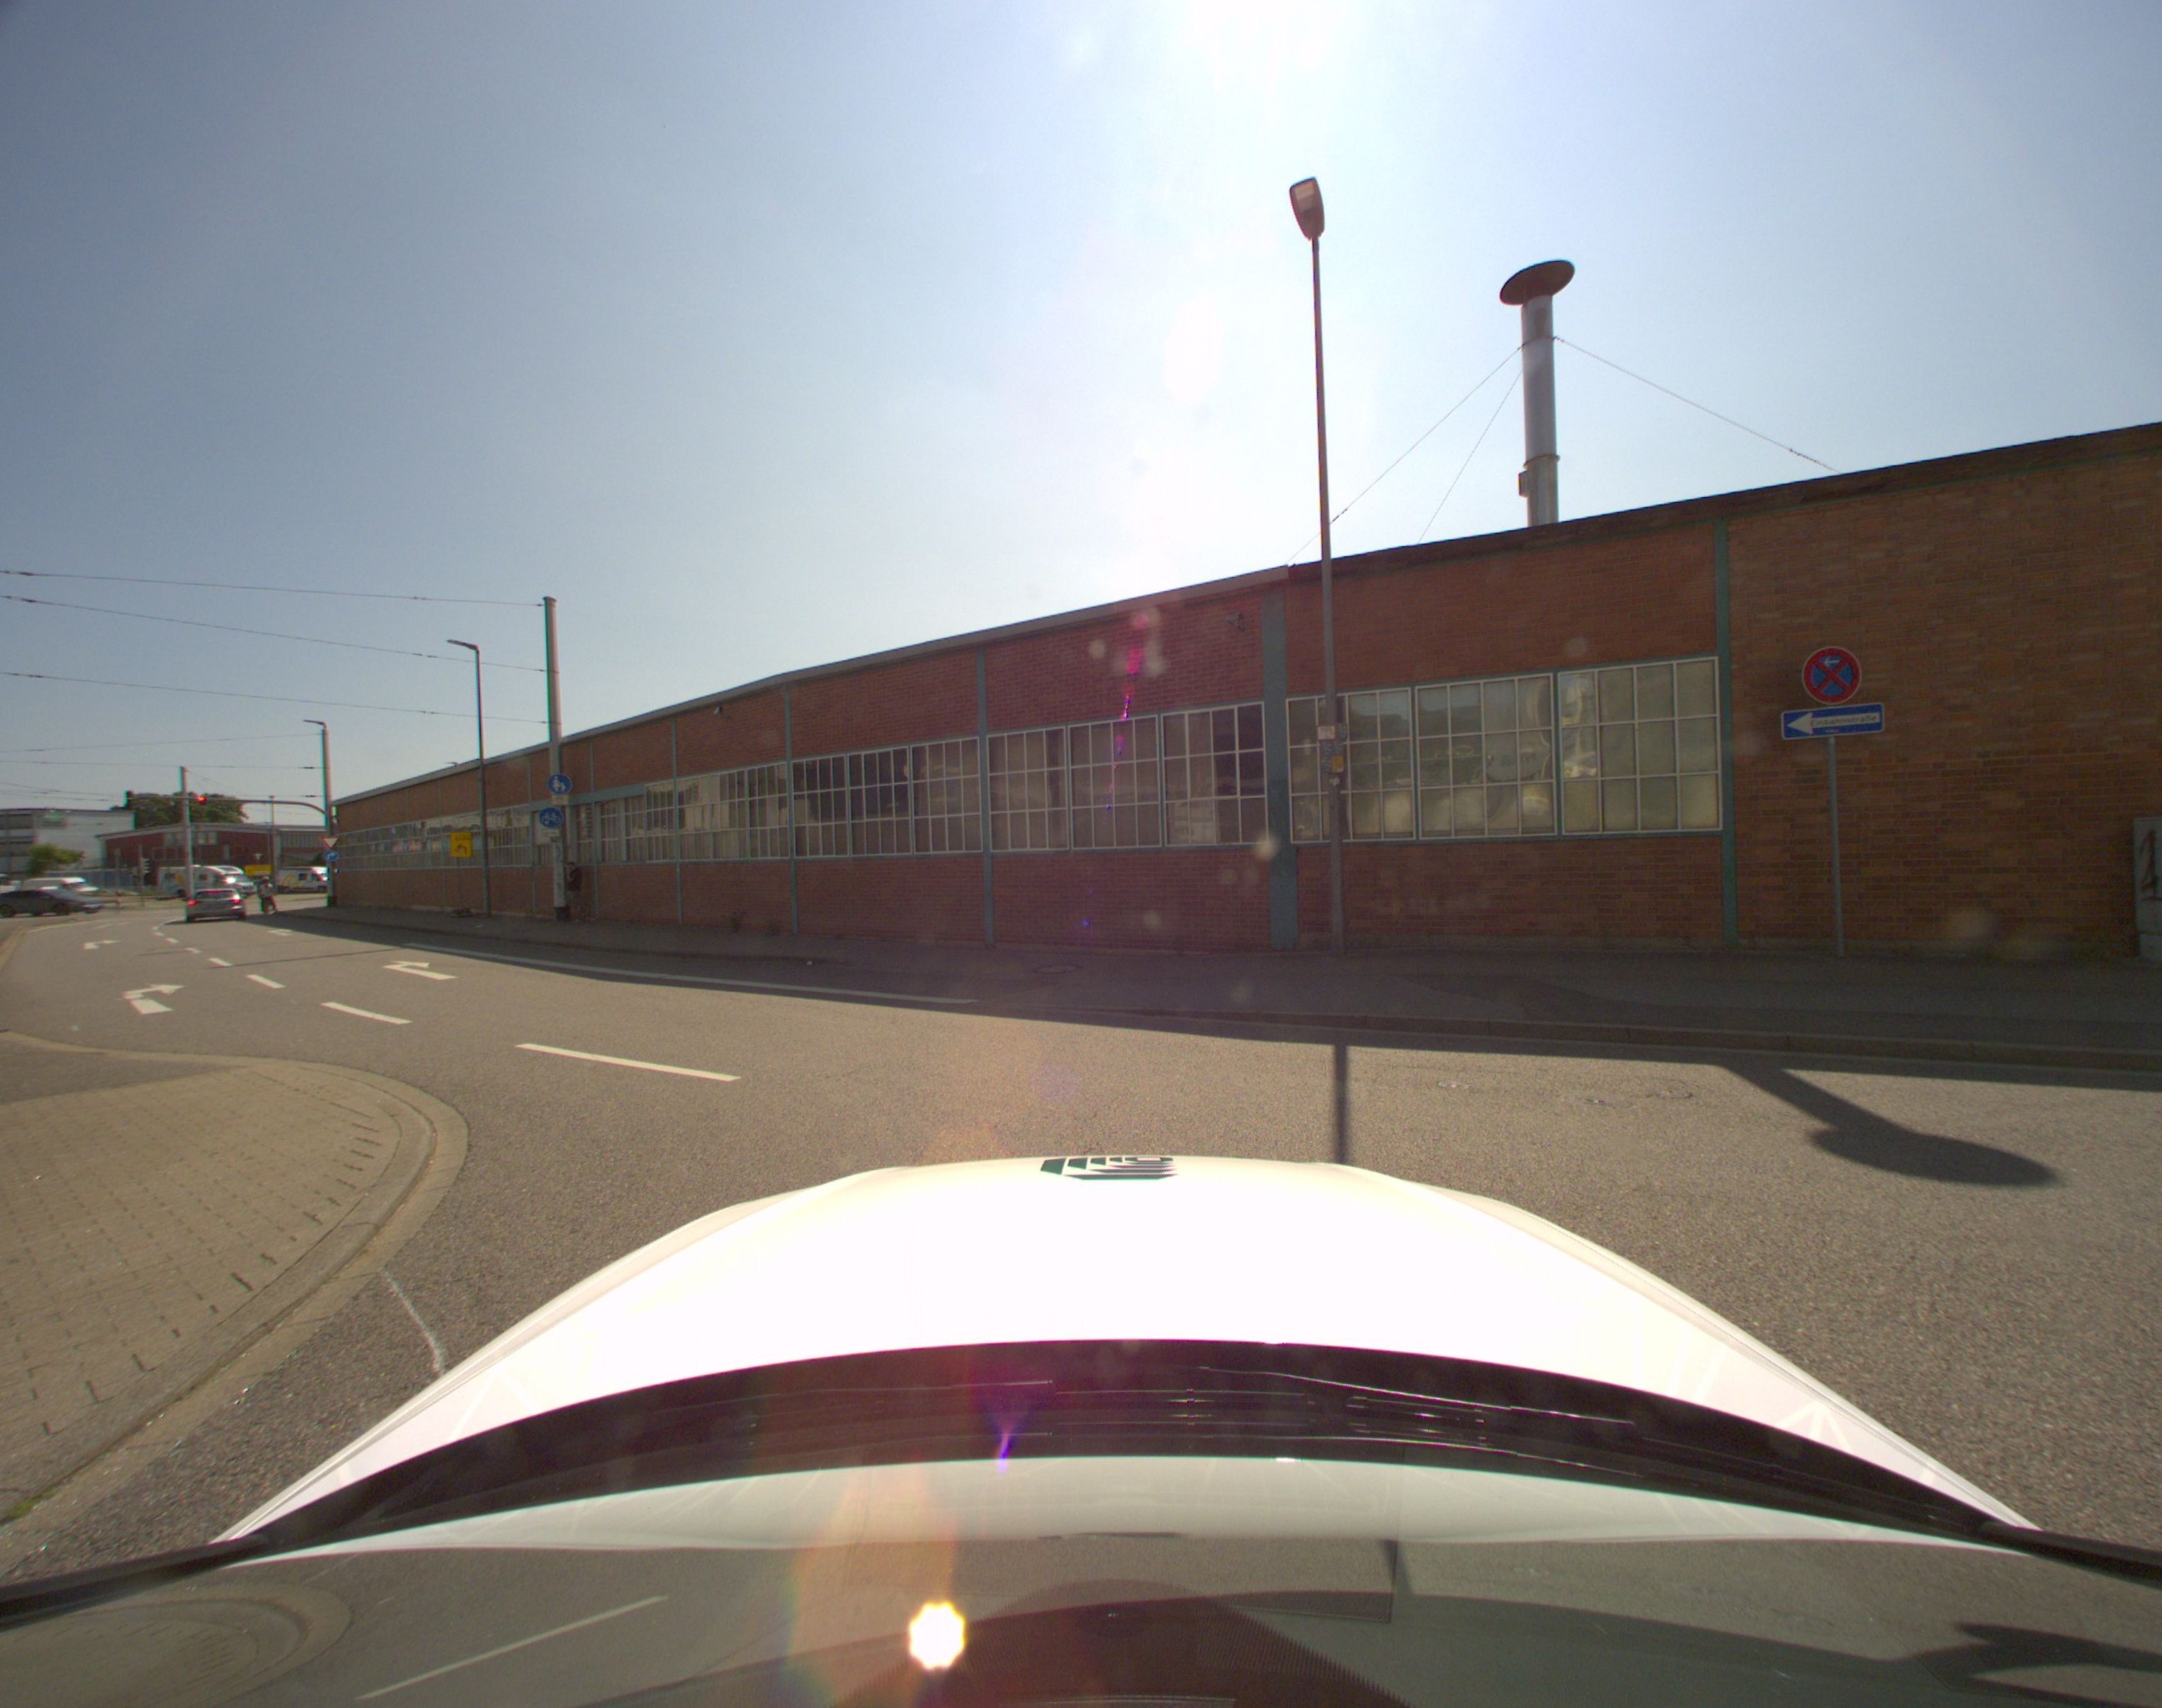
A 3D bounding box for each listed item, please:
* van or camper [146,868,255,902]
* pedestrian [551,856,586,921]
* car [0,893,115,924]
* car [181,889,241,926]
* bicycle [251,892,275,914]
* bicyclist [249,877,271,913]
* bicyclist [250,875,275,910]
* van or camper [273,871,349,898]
[{"bbox_3d":[-80.216,2.796,74.249,6.947,2.930,2.352,-1,2,-3],"label":"van or camper"},{"bbox_3d":[-14.260,0.943,22.652,0.443,1.764,0.690,1,2,40],"label":"pedestrian"},{"bbox_3d":[-61.890,3.257,49.233,4.008,1.508,1.864,-3,1,-26],"label":"car"},{"bbox_3d":[-39.688,2.386,37.162,3.949,1.459,1.763,-2,1,43],"label":"car"},{"bbox_3d":[-41.842,2.503,41.645,2.123,1.021,0.802,-2,1,43],"label":"bicycle"},{"bbox_3d":[-43.129,2.157,42.760,0.970,1.810,0.714,-2,0,42],"label":"bicyclist"},{"bbox_3d":[-41.679,1.929,41.474,1.132,1.721,0.793,-2,0,43],"label":"bicyclist"},{"bbox_3d":[-75.833,2.955,80.244,5.346,2.440,2.292,1,2,3],"label":"van or camper"}]
